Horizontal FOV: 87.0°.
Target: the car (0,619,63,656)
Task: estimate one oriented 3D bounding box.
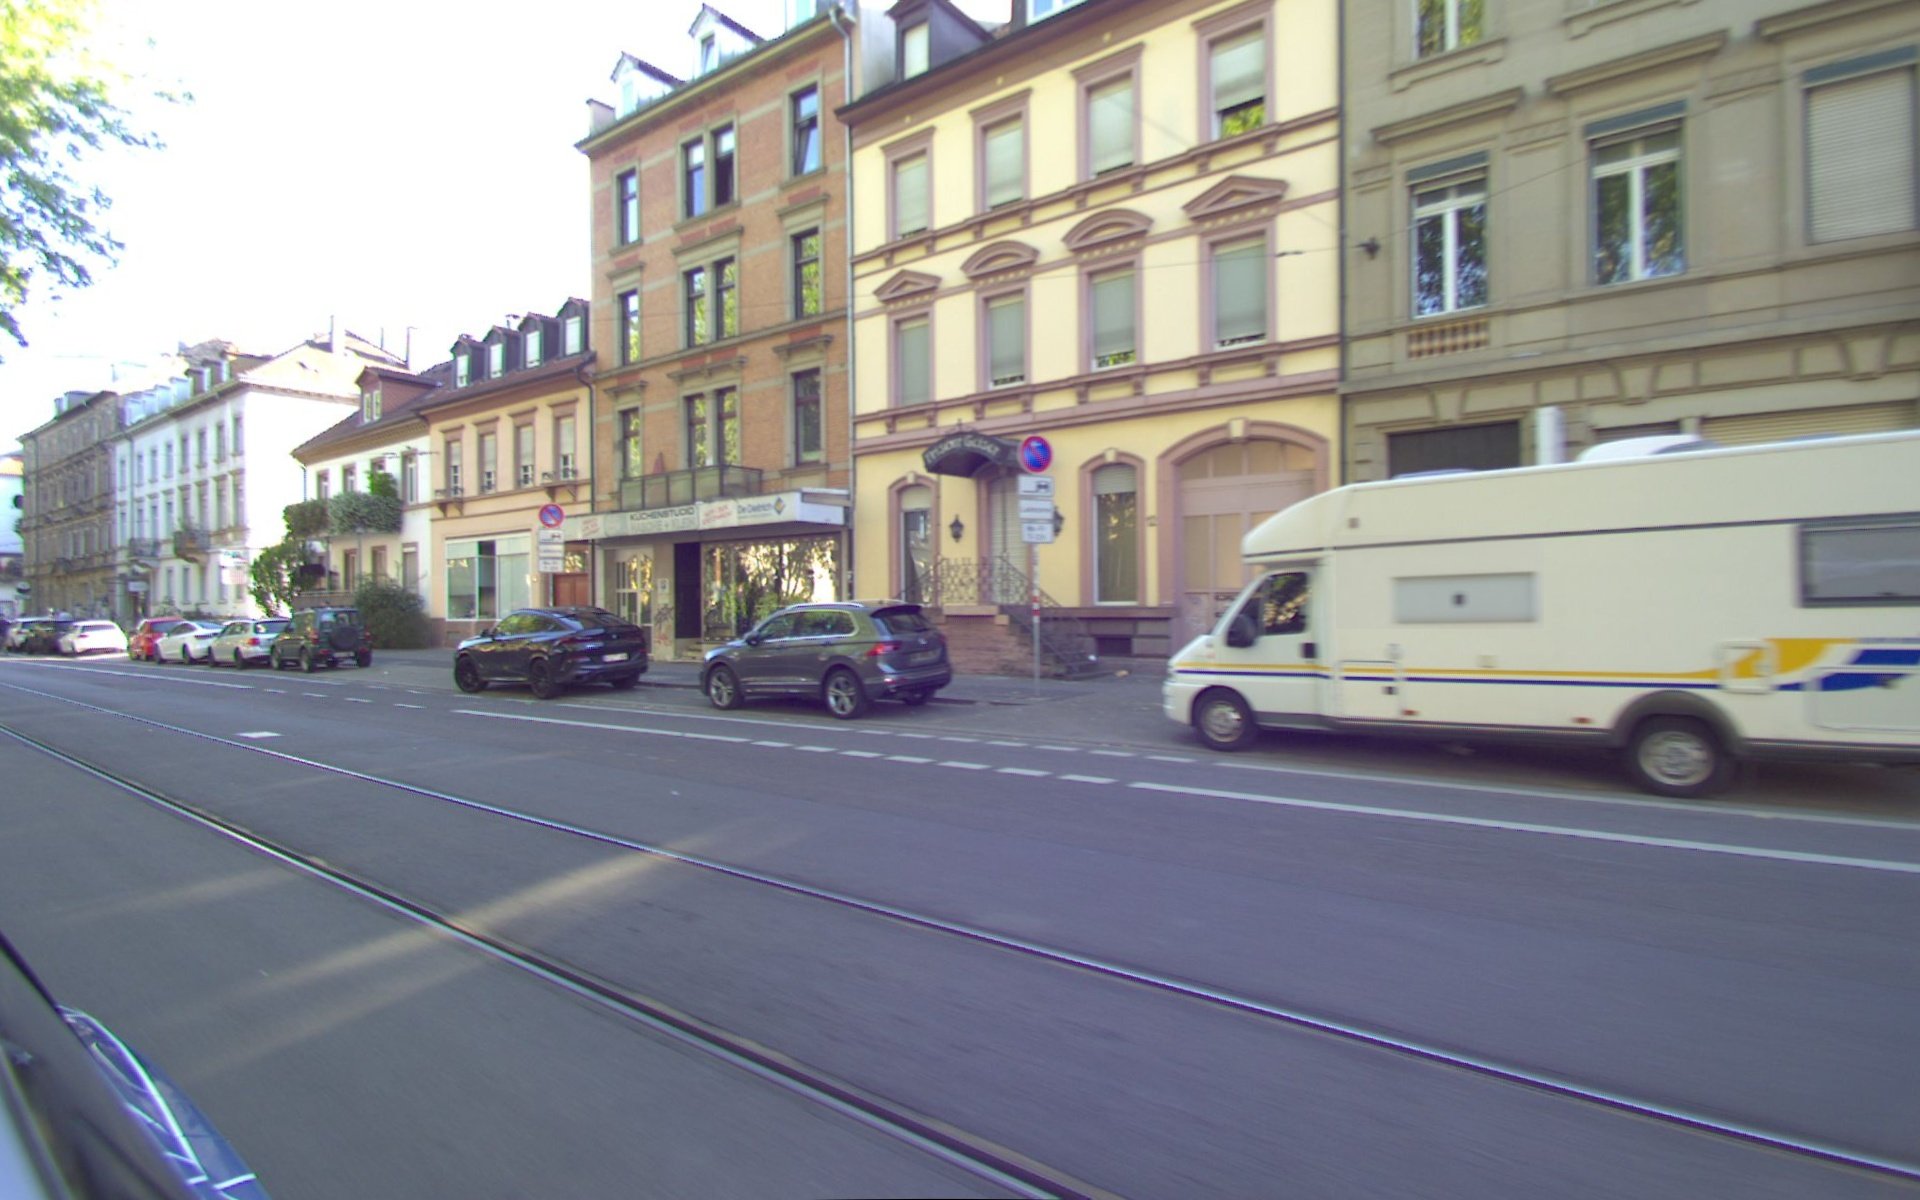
[{"bbox_3d":[-46.012,1.836,50.015,4.249,1.652,1.776,-1,1,39],"label":"car"}]

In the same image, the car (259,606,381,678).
[{"bbox_3d":[-17.700,1.125,27.940,3.622,1.759,1.708,-1,2,39],"label":"car"}]

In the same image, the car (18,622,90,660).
[{"bbox_3d":[-41.847,1.856,46.719,4.078,1.608,1.776,-1,1,39],"label":"car"}]

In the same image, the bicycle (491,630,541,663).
[{"bbox_3d":[-13.669,1.410,31.133,2.118,0.976,0.499,-1,-1,40],"label":"bicycle"}]

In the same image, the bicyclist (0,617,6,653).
[{"bbox_3d":[-41.697,1.516,43.621,0.953,1.529,0.706,-1,-1,39],"label":"bicyclist"}]

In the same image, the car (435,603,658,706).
[{"bbox_3d":[-8.356,1.013,20.280,4.744,1.715,1.975,-1,3,38],"label":"car"}]

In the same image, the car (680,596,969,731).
[{"bbox_3d":[-2.197,0.891,15.712,4.437,1.718,1.794,-1,3,38],"label":"car"}]

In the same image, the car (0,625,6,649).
[{"bbox_3d":[-57.733,2.198,59.499,4.078,1.386,1.776,-1,1,39],"label":"car"}]

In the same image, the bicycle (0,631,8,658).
[{"bbox_3d":[-41.753,1.933,43.661,2.118,1.146,0.706,-1,-1,40],"label":"bicycle"}]

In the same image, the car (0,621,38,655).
[{"bbox_3d":[-50.850,2.017,53.930,4.570,1.652,1.776,-1,1,39],"label":"car"}]

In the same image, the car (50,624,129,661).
[{"bbox_3d":[-37.610,1.810,43.691,4.078,1.442,1.846,-1,1,39],"label":"car"}]

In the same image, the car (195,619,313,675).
[{"bbox_3d":[-21.299,1.374,30.468,4.398,1.465,1.648,-1,2,38],"label":"car"}]

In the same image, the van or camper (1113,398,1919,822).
[{"bbox_3d":[5.291,0.052,9.853,7.245,2.968,2.395,-1,3,40],"label":"van or camper"}]

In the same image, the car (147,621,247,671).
[{"bbox_3d":[-25.546,1.499,33.832,4.464,1.502,1.568,-1,1,38],"label":"car"}]

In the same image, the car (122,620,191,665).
[{"bbox_3d":[-29.668,1.538,37.332,3.324,1.522,1.404,-1,1,42],"label":"car"}]
